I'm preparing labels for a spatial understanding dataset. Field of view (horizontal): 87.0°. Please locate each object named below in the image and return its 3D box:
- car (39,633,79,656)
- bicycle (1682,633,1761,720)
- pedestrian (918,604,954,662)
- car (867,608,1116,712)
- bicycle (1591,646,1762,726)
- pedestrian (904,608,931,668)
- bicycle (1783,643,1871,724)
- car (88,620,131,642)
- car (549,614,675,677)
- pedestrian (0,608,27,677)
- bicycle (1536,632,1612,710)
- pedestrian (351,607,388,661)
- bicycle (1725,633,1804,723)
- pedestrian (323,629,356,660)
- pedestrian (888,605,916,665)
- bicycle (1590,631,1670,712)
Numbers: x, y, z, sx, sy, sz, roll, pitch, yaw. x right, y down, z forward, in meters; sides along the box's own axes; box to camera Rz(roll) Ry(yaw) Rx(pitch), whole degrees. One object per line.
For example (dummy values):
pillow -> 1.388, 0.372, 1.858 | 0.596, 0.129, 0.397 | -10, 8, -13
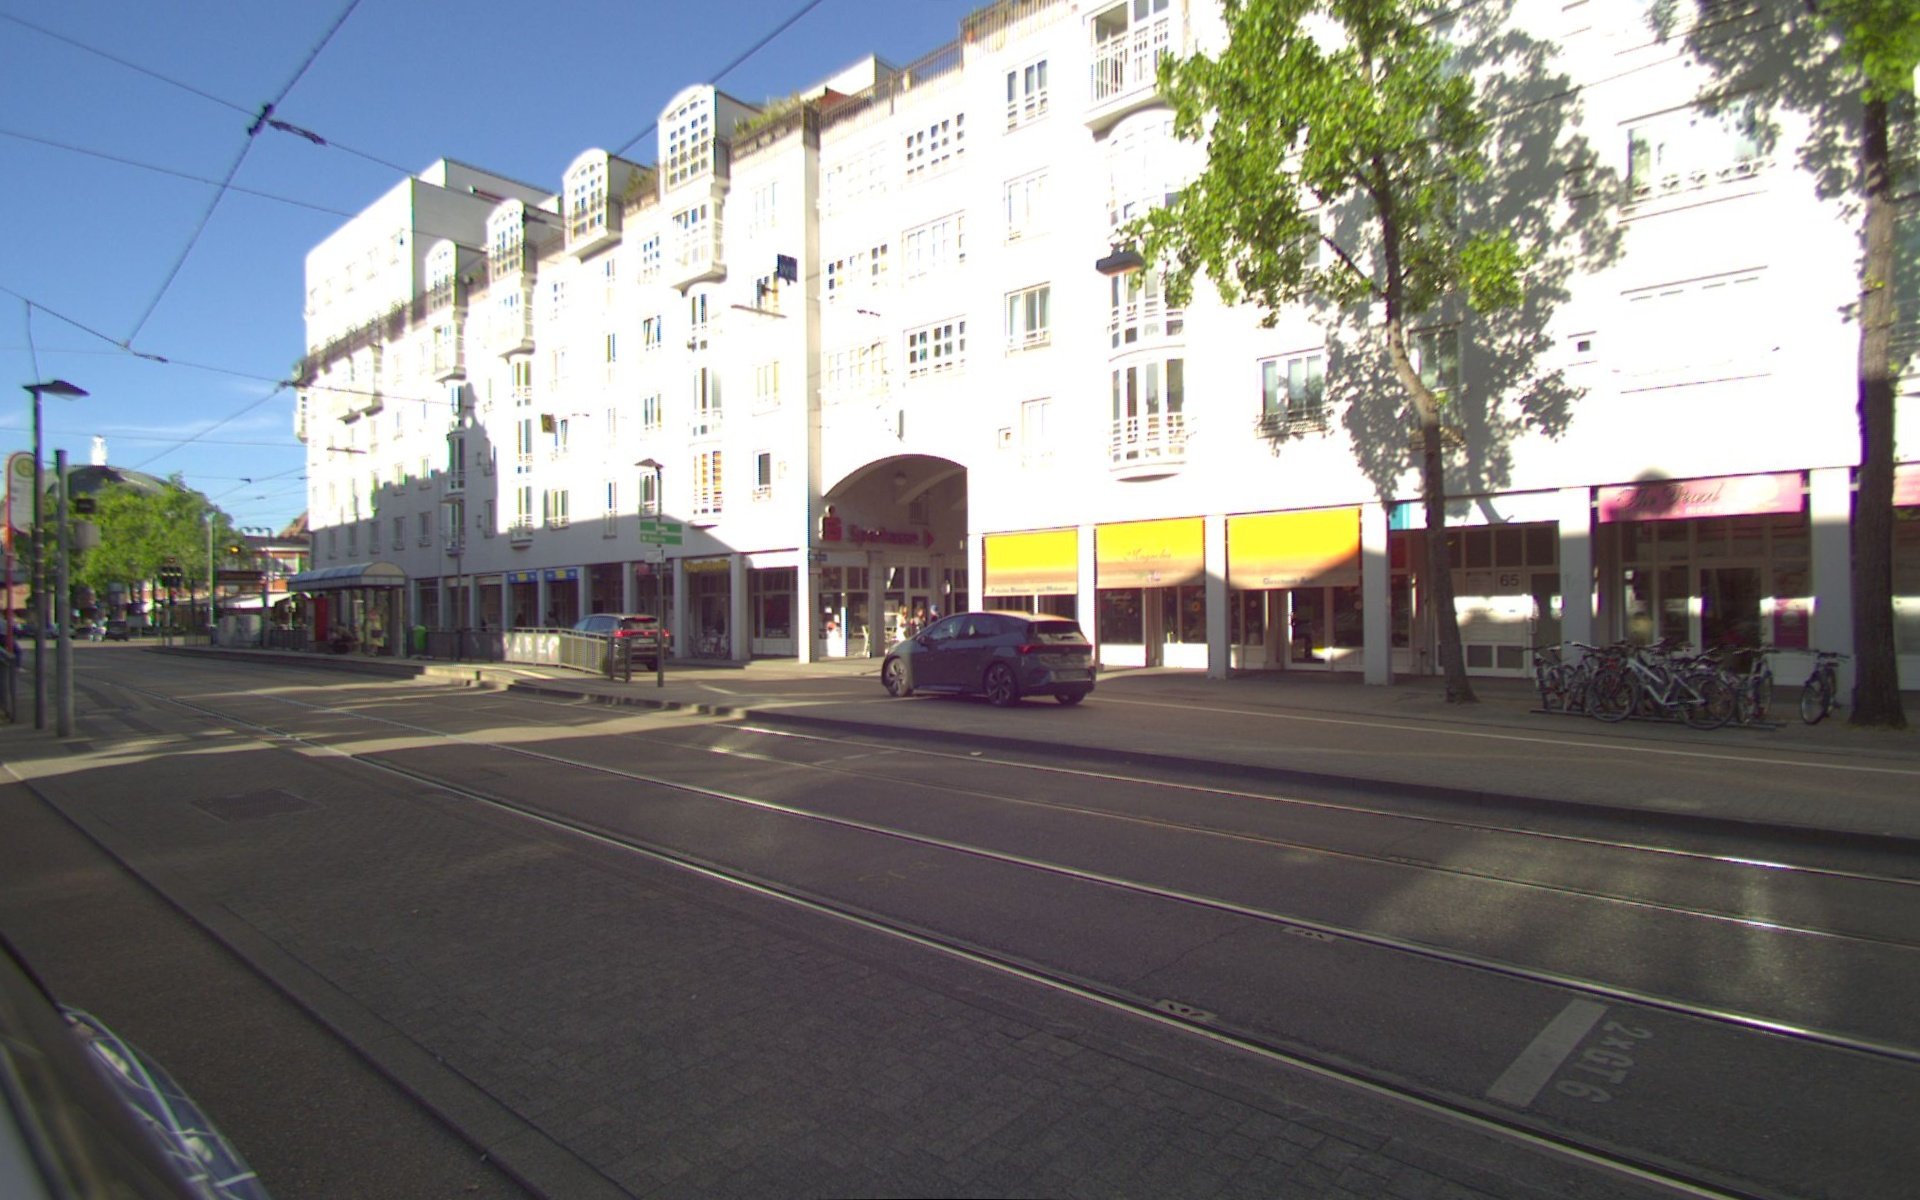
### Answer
car -> -78.792, 3.904, 88.481 | 3.995, 1.918, 1.974 | -2, -1, 39
bicycle -> 10.482, 1.017, 13.913 | 1.850, 1.085, 0.465 | 0, -1, -41
pedestrian -> -0.684, 0.956, 29.344 | 0.731, 1.657, 0.737 | -2, -1, 42
car -> 0.423, 0.968, 17.305 | 1.758, 1.552, 4.272 | 3, -3, -43
bicycle -> 9.325, 1.097, 13.235 | 0.464, 0.939, 1.757 | 0, -1, -39
pedestrian -> -1.195, 1.068, 28.676 | 0.523, 1.657, 0.556 | -2, -2, 42
bicycle -> 11.329, 1.059, 13.201 | 1.726, 0.939, 0.571 | 0, -1, -40
car -> -64.639, 2.360, 76.888 | 3.999, 1.630, 1.972 | -2, -1, 42
car -> -10.248, 1.292, 29.613 | 1.758, 1.681, 4.776 | 1, -2, -42
pedestrian -> -23.023, 1.025, 24.421 | 0.400, 1.657, 0.707 | -1, -1, 43
bicycle -> 9.332, 1.049, 15.361 | 1.851, 1.085, 0.512 | 0, -1, -44
pedestrian -> -18.390, 1.055, 31.534 | 0.747, 1.657, 0.784 | -2, -1, 42
bicycle -> 10.696, 1.006, 13.431 | 1.850, 1.085, 0.465 | 0, -1, -41
pedestrian -> -21.164, 1.515, 34.509 | 0.747, 0.995, 0.784 | 0, 0, 42
pedestrian -> -1.637, 0.982, 28.467 | 0.523, 1.657, 0.556 | -2, -1, 42
bicycle -> 9.776, 1.012, 14.736 | 1.850, 1.085, 0.465 | 0, -1, -41
